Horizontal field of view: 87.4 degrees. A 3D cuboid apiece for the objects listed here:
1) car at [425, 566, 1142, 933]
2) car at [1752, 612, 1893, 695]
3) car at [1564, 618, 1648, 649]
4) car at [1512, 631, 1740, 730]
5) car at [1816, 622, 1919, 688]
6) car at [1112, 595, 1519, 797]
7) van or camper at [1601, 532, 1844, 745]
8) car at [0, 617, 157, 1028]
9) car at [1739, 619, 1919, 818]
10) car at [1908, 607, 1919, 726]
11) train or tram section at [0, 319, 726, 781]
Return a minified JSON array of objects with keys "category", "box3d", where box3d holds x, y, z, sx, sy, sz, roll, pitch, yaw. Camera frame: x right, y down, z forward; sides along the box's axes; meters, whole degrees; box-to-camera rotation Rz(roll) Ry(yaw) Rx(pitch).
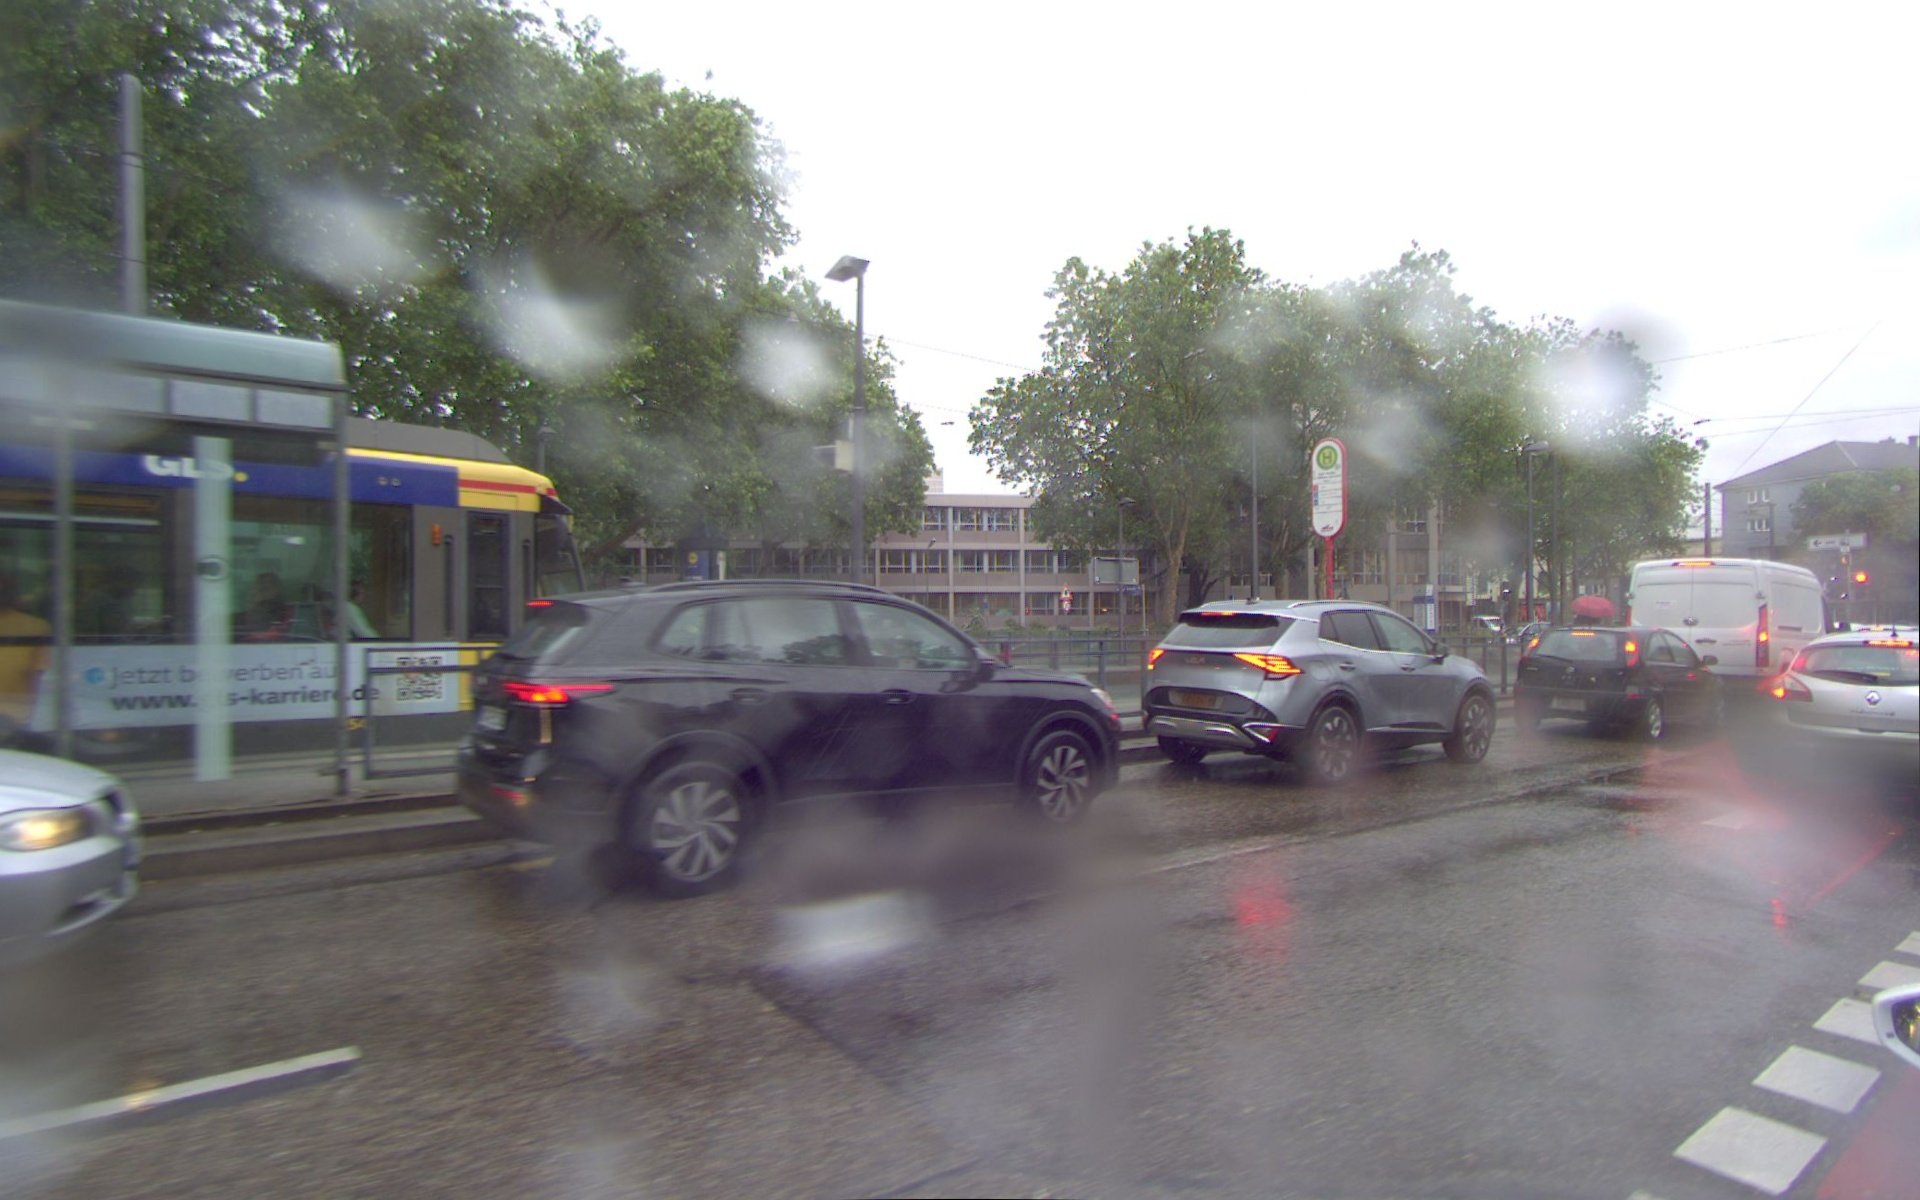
[{"category":"car","box3d":[-0.953,0.727,6.650,4.284,1.642,1.977,1,-2,-40]},{"category":"car","box3d":[18.871,1.114,21.931,3.802,1.650,1.632,1,-1,-38]},{"category":"car","box3d":[29.534,1.552,45.913,3.474,1.332,1.590,1,0,-24]},{"category":"car","box3d":[9.228,1.013,13.793,4.052,1.132,1.451,1,0,-39]},{"category":"car","box3d":[23.753,1.363,25.843,3.963,1.504,1.830,1,0,-37]},{"category":"car","box3d":[3.774,0.842,10.303,4.415,1.645,1.900,1,-2,-38]},{"category":"van or camper","box3d":[13.531,0.636,17.666,5.802,3.183,2.141,1,-1,-40]},{"category":"car","box3d":[-5.365,0.753,3.035,4.568,1.413,1.977,1,-2,-40]},{"category":"car","box3d":[8.756,0.961,9.141,3.966,1.497,1.754,1,0,-39]},{"category":"car","box3d":[16.787,1.059,15.884,4.424,1.794,2.008,1,0,-39]},{"category":"train or tram section","box3d":[-9.688,-0.448,7.767,15.373,3.459,3.512,1,1,-39]}]
